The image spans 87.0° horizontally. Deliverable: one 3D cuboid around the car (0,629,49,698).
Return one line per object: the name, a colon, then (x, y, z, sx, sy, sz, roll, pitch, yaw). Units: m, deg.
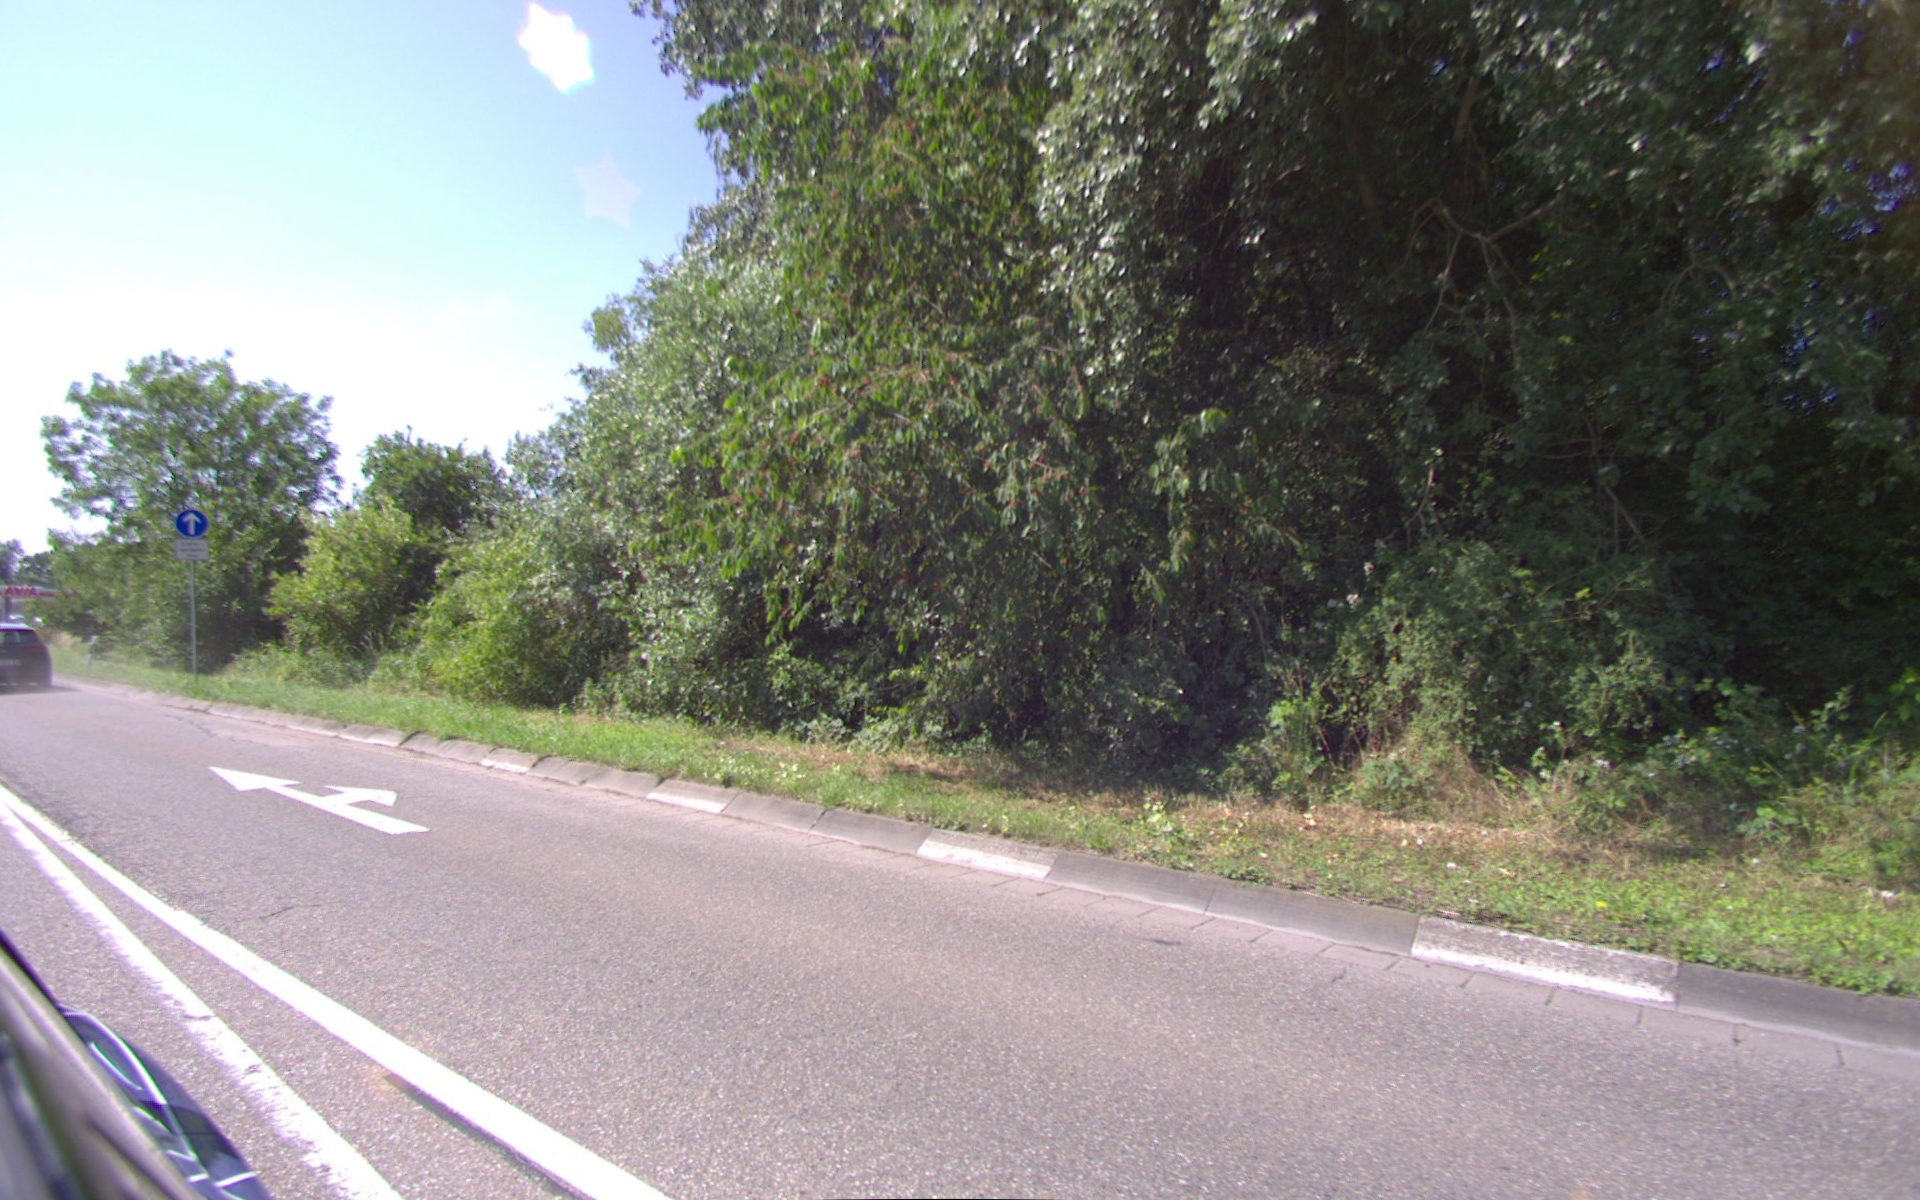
car: (-21.404, 1.344, 22.102, 4.290, 1.400, 1.681, -2, -2, 40)
